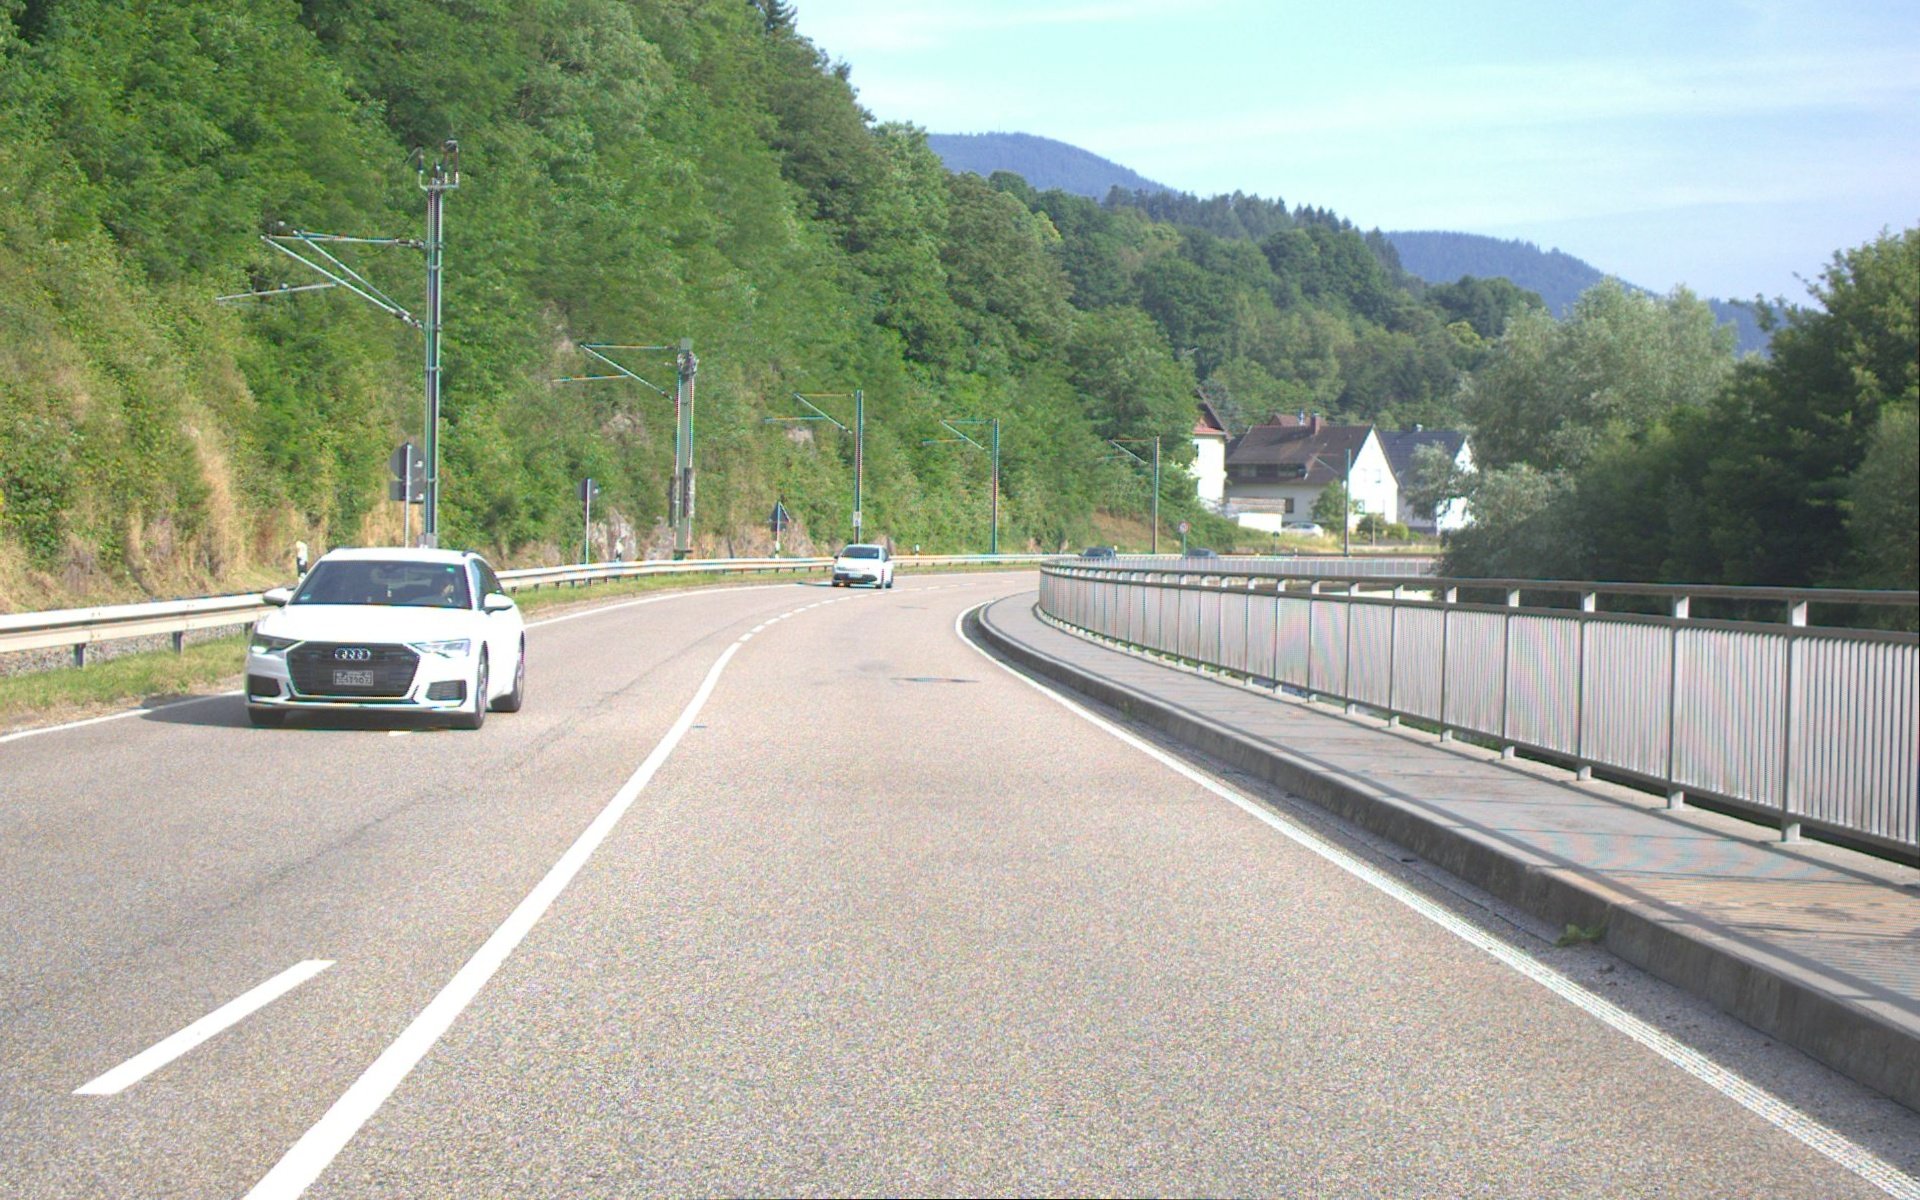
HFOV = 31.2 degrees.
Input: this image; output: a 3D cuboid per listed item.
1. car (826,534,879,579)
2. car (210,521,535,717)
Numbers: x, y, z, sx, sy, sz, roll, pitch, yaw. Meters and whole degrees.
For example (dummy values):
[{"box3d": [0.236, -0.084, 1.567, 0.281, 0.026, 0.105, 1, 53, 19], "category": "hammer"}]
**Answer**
[{"box3d": [-3.812, -1.561, 122.259, 1.847, 1.539, 4.604, 0, 1, -2], "category": "car"}, {"box3d": [-4.888, 0.110, 29.256, 2.063, 1.434, 4.687, 3, 1, -2], "category": "car"}]
